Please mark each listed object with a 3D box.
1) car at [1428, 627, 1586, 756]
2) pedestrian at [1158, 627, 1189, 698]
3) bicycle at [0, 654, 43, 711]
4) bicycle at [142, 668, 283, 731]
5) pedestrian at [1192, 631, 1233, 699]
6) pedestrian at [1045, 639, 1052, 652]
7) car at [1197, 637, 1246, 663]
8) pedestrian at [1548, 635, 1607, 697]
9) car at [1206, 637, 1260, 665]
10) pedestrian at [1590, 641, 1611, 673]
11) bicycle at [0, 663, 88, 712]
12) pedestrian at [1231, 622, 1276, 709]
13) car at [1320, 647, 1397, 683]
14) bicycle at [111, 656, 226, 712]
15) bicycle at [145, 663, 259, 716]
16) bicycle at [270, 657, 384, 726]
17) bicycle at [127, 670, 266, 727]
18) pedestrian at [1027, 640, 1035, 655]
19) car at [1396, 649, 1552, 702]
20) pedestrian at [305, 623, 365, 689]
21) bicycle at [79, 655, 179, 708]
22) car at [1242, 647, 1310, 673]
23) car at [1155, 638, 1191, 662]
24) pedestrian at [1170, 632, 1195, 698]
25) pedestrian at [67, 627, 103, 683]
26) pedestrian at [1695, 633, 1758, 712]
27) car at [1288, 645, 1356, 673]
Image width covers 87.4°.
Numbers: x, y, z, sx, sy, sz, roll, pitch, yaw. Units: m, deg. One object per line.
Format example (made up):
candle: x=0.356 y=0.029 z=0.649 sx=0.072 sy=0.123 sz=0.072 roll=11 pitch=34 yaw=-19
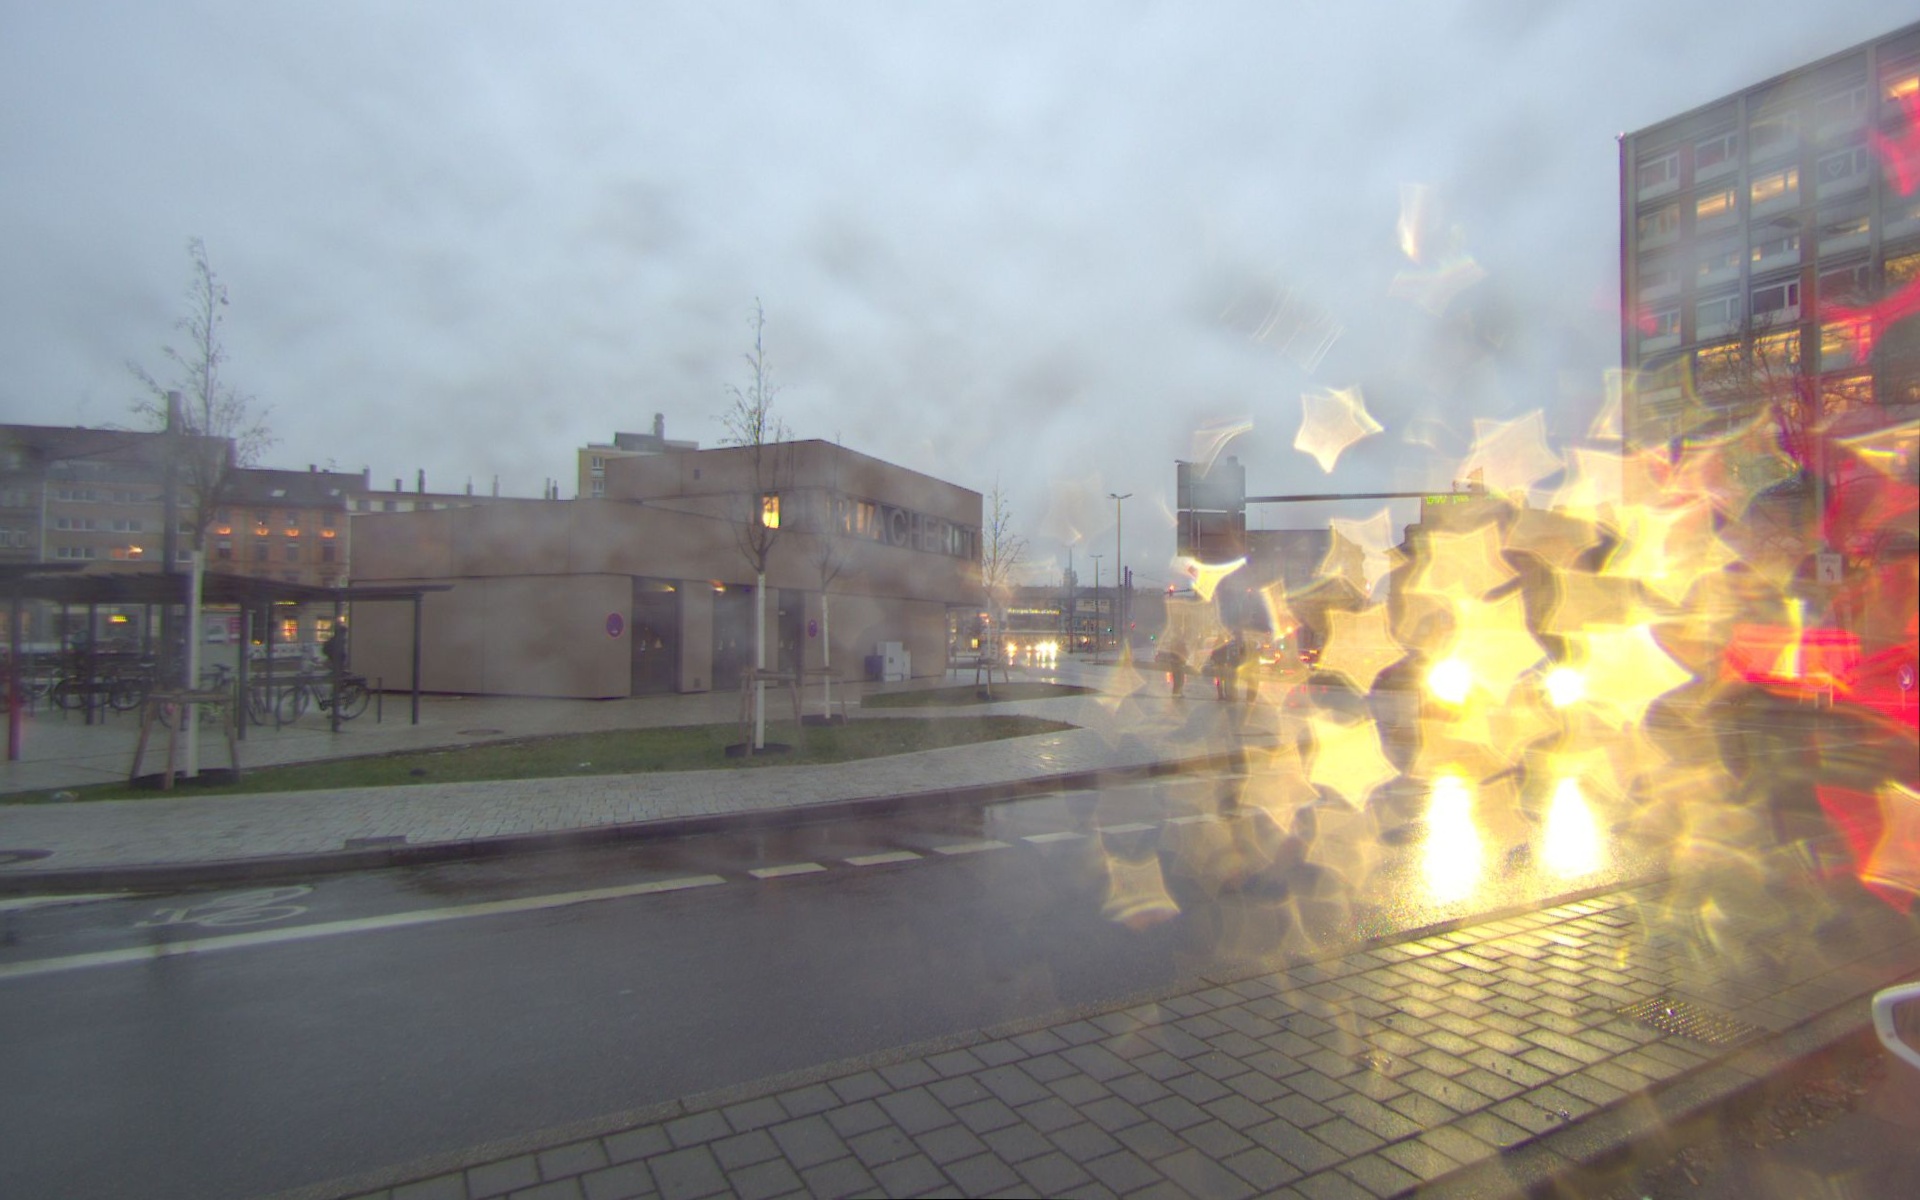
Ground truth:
car: x=7.858 y=1.234 z=14.719 sx=1.742 sy=1.598 sz=3.997 roll=-2 pitch=-3 yaw=25
pedestrian: x=5.741 y=1.674 z=27.036 sx=0.663 sy=1.863 sz=0.735 roll=0 pitch=-2 yaw=2
bicycle: x=-19.396 y=1.633 z=19.835 sx=0.466 sy=1.122 sz=1.797 roll=1 pitch=-2 yaw=29
bicycle: x=-12.938 y=1.703 z=17.456 sx=0.466 sy=0.989 sz=1.923 roll=1 pitch=-2 yaw=29
pedestrian: x=6.714 y=1.715 z=26.737 sx=0.838 sy=1.778 sz=0.659 roll=0 pitch=-2 yaw=-14
pedestrian: x=13.105 y=6.734 z=148.833 sx=0.960 sy=2.040 sz=0.920 roll=-1 pitch=-2 yaw=11
car: x=19.385 y=3.717 z=74.497 sx=3.321 sy=1.724 sz=1.526 roll=2 pitch=0 yaw=8
pedestrian: x=19.150 y=2.030 z=31.178 sx=1.116 sy=1.867 sz=1.005 roll=-3 pitch=-2 yaw=4
car: x=19.615 y=3.650 z=72.352 sx=3.514 sy=1.850 sz=1.672 roll=2 pitch=0 yaw=8
pedestrian: x=33.685 y=2.978 z=52.818 sx=0.548 sy=1.649 sz=0.760 roll=0 pitch=-2 yaw=-15
bicycle: x=-18.511 y=1.733 z=19.986 sx=0.466 sy=0.903 sz=1.693 roll=1 pitch=-2 yaw=24
pedestrian: x=7.129 y=1.575 z=24.351 sx=0.971 sy=2.047 sz=0.802 roll=-1 pitch=-2 yaw=19
car: x=20.492 y=3.307 z=51.816 sx=1.795 sy=1.589 sz=3.991 roll=2 pitch=0 yaw=-11
bicycle: x=-16.532 y=1.737 z=21.036 sx=0.466 sy=1.087 sz=1.830 roll=1 pitch=-2 yaw=26
bicycle: x=-15.182 y=1.779 z=20.171 sx=0.466 sy=0.968 sz=1.767 roll=1 pitch=-2 yaw=29
bicycle: x=-11.752 y=1.676 z=18.717 sx=0.605 sy=1.172 sz=1.755 roll=1 pitch=-2 yaw=20
bicycle: x=-13.589 y=1.738 z=17.948 sx=0.466 sy=0.903 sz=1.923 roll=1 pitch=-2 yaw=29
pedestrian: x=9.673 y=6.424 z=136.359 sx=0.960 sy=2.040 sz=0.920 roll=-1 pitch=-2 yaw=11
car: x=15.931 y=2.303 z=31.452 sx=1.780 sy=1.496 sz=4.661 roll=1 pitch=-3 yaw=-12
pedestrian: x=-17.231 y=1.533 z=27.691 sx=0.994 sy=1.787 sz=1.065 roll=-2 pitch=-2 yaw=29
bicycle: x=-17.689 y=1.711 z=21.429 sx=0.511 sy=1.050 sz=1.573 roll=1 pitch=-2 yaw=19
car: x=20.085 y=3.802 z=63.900 sx=3.741 sy=1.502 sz=1.602 roll=2 pitch=0 yaw=-1
car: x=16.063 y=3.742 z=75.897 sx=1.791 sy=1.589 sz=4.000 roll=2 pitch=0 yaw=0
pedestrian: x=6.085 y=1.769 z=27.501 sx=0.537 sy=1.793 sz=0.743 roll=-1 pitch=-2 yaw=4
pedestrian: x=-26.456 y=1.658 z=30.384 sx=0.519 sy=1.688 sz=0.699 roll=-2 pitch=-2 yaw=34
pedestrian: x=20.079 y=1.881 z=26.321 sx=0.946 sy=2.004 sz=0.925 roll=0 pitch=-2 yaw=-24
car: x=20.897 y=3.404 z=58.076 sx=3.364 sy=1.481 sz=1.515 roll=2 pitch=0 yaw=-1
